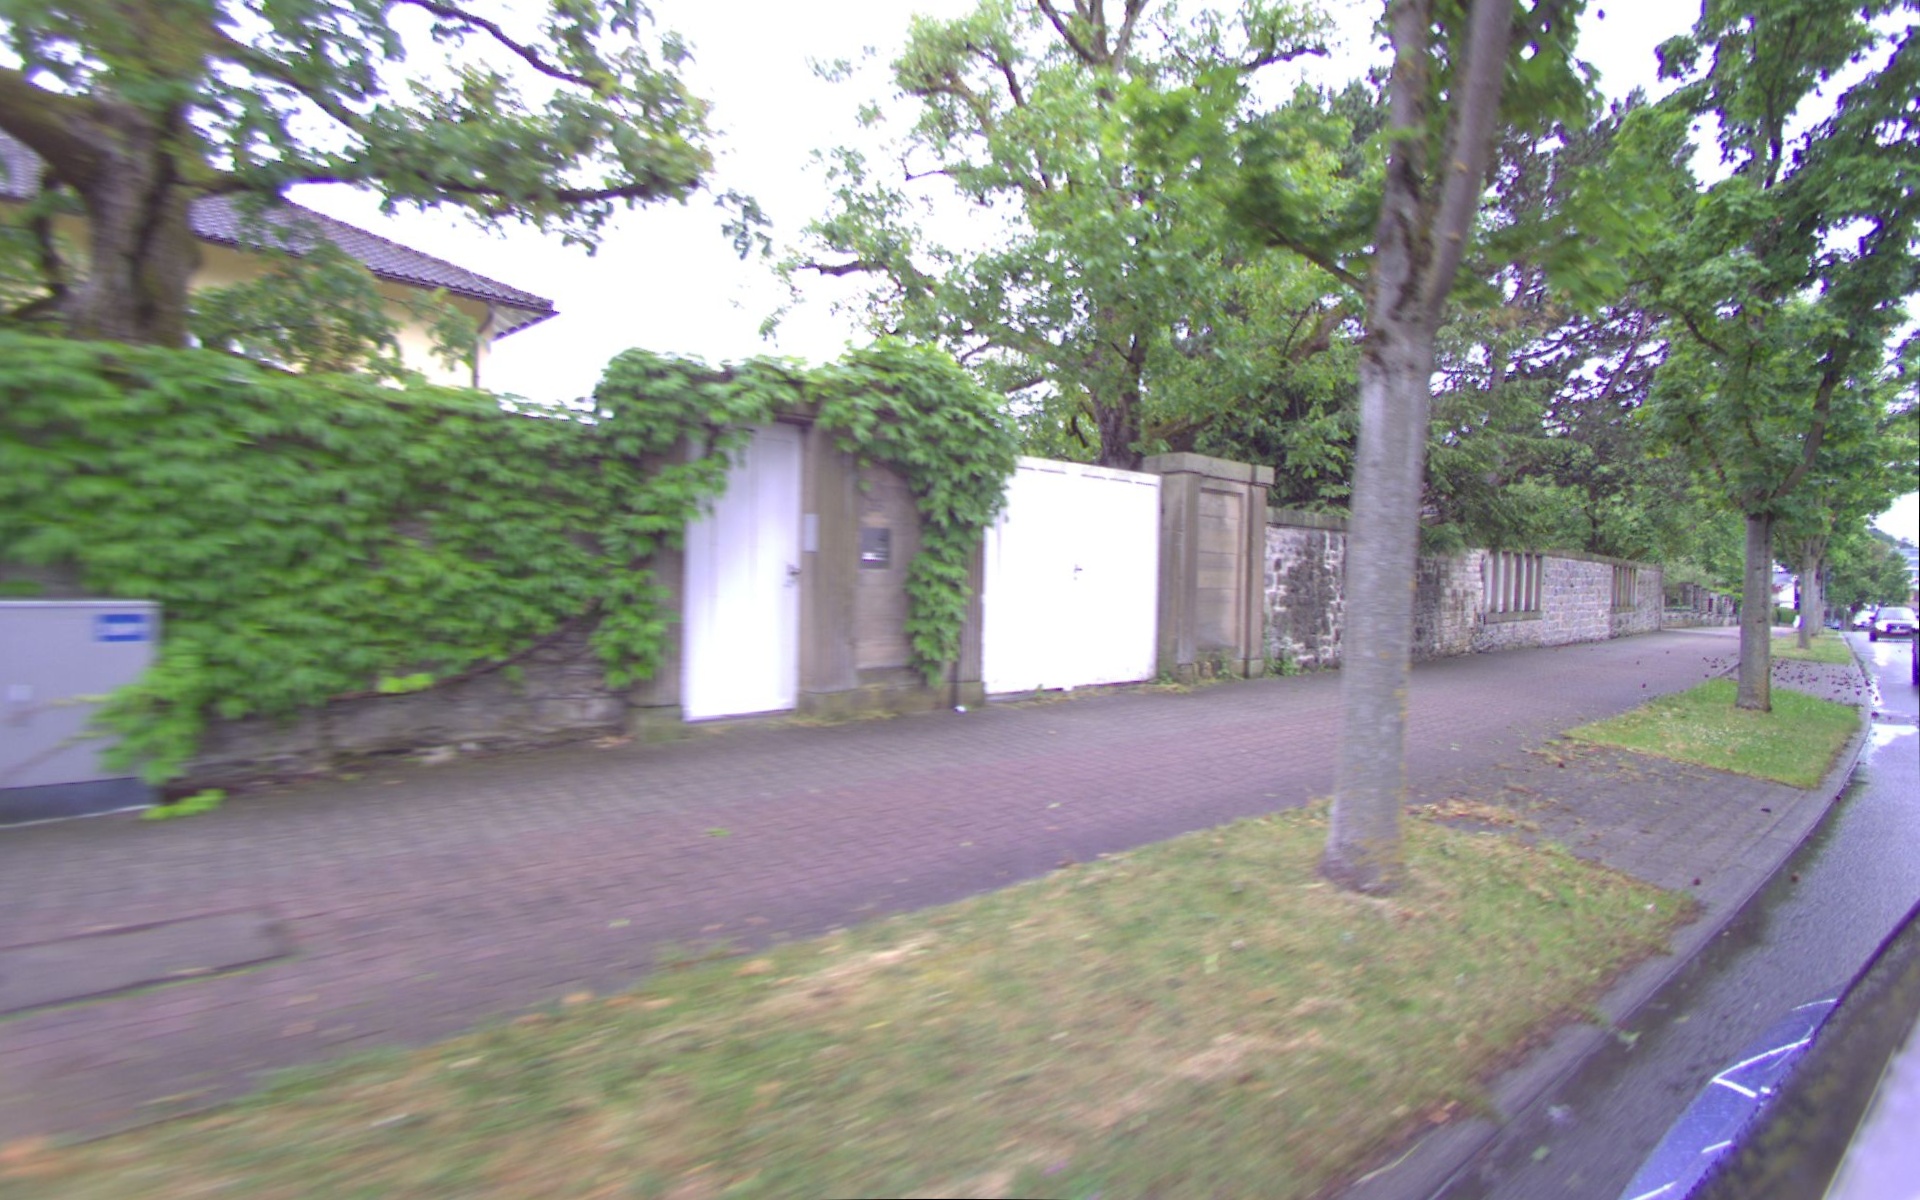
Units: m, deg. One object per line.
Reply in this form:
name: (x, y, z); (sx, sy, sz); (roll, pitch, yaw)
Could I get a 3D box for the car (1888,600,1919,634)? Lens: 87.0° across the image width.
car: (42.316, 0.769, 44.843); (1.652, 1.471, 3.936); (-1, -2, 44)

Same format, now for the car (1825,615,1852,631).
car: (83.640, 2.199, 96.307); (3.766, 1.394, 1.643); (2, 1, -45)
